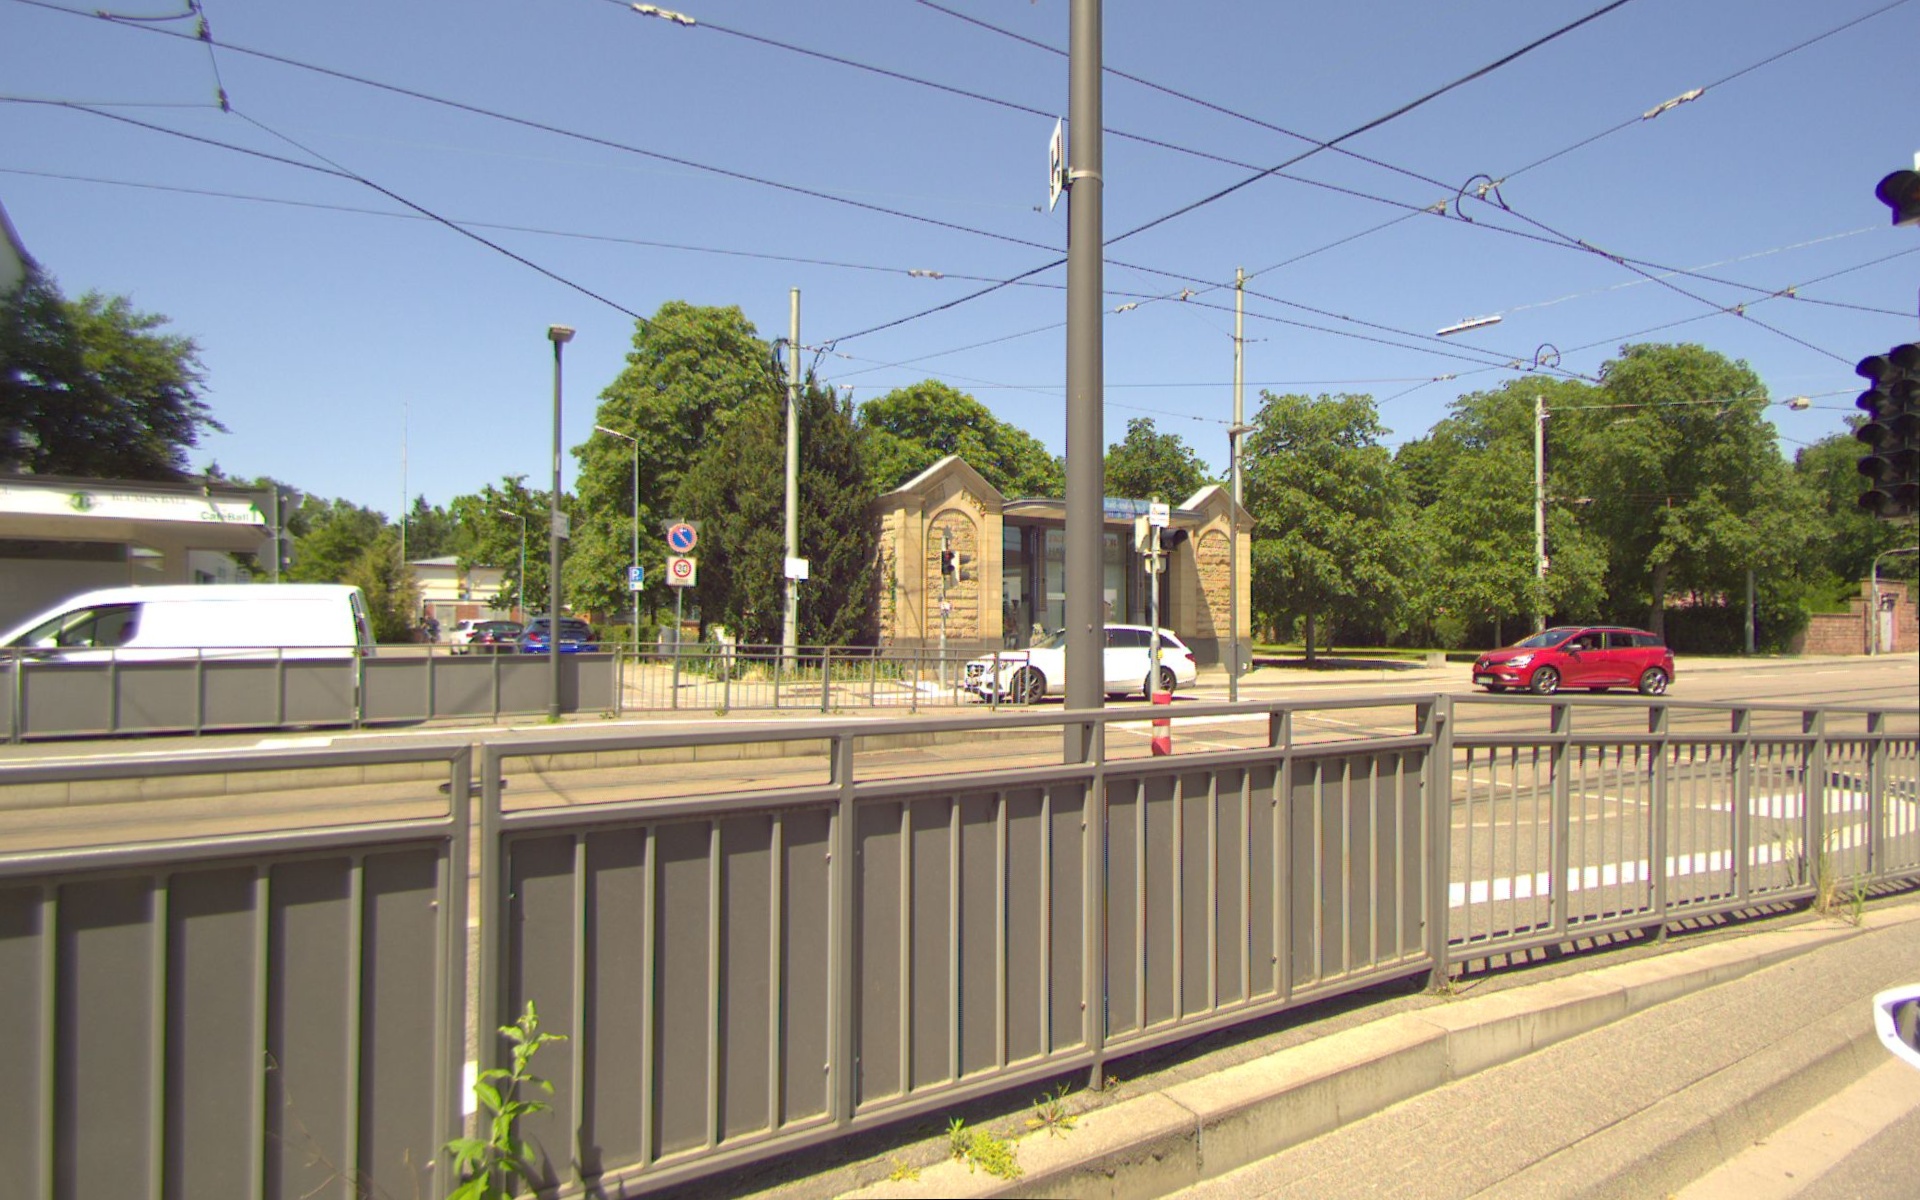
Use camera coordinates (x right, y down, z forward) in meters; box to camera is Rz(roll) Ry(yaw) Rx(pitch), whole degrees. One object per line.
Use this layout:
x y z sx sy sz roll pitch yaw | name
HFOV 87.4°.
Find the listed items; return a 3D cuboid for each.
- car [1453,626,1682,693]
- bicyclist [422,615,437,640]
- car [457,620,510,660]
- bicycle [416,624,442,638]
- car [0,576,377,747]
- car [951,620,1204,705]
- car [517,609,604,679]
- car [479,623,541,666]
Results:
13.364 1.287 22.228 4.097 1.414 1.822 0 -1 -6 | car
-31.089 1.597 58.858 0.522 1.454 0.619 -1 -1 42 | bicyclist
-18.734 1.569 39.394 1.625 1.465 3.784 1 -3 -29 | car
-31.121 1.834 58.893 2.162 0.798 0.615 -1 -2 41 | bicycle
-9.812 0.720 12.249 4.644 1.840 1.847 1 -3 -31 | car
2.262 1.165 19.393 4.555 1.487 1.815 1 -2 -22 | car
-9.934 1.015 24.809 1.799 1.472 3.934 1 1 -25 | car
-15.323 1.503 34.110 1.624 1.388 3.785 1 -3 -29 | car
